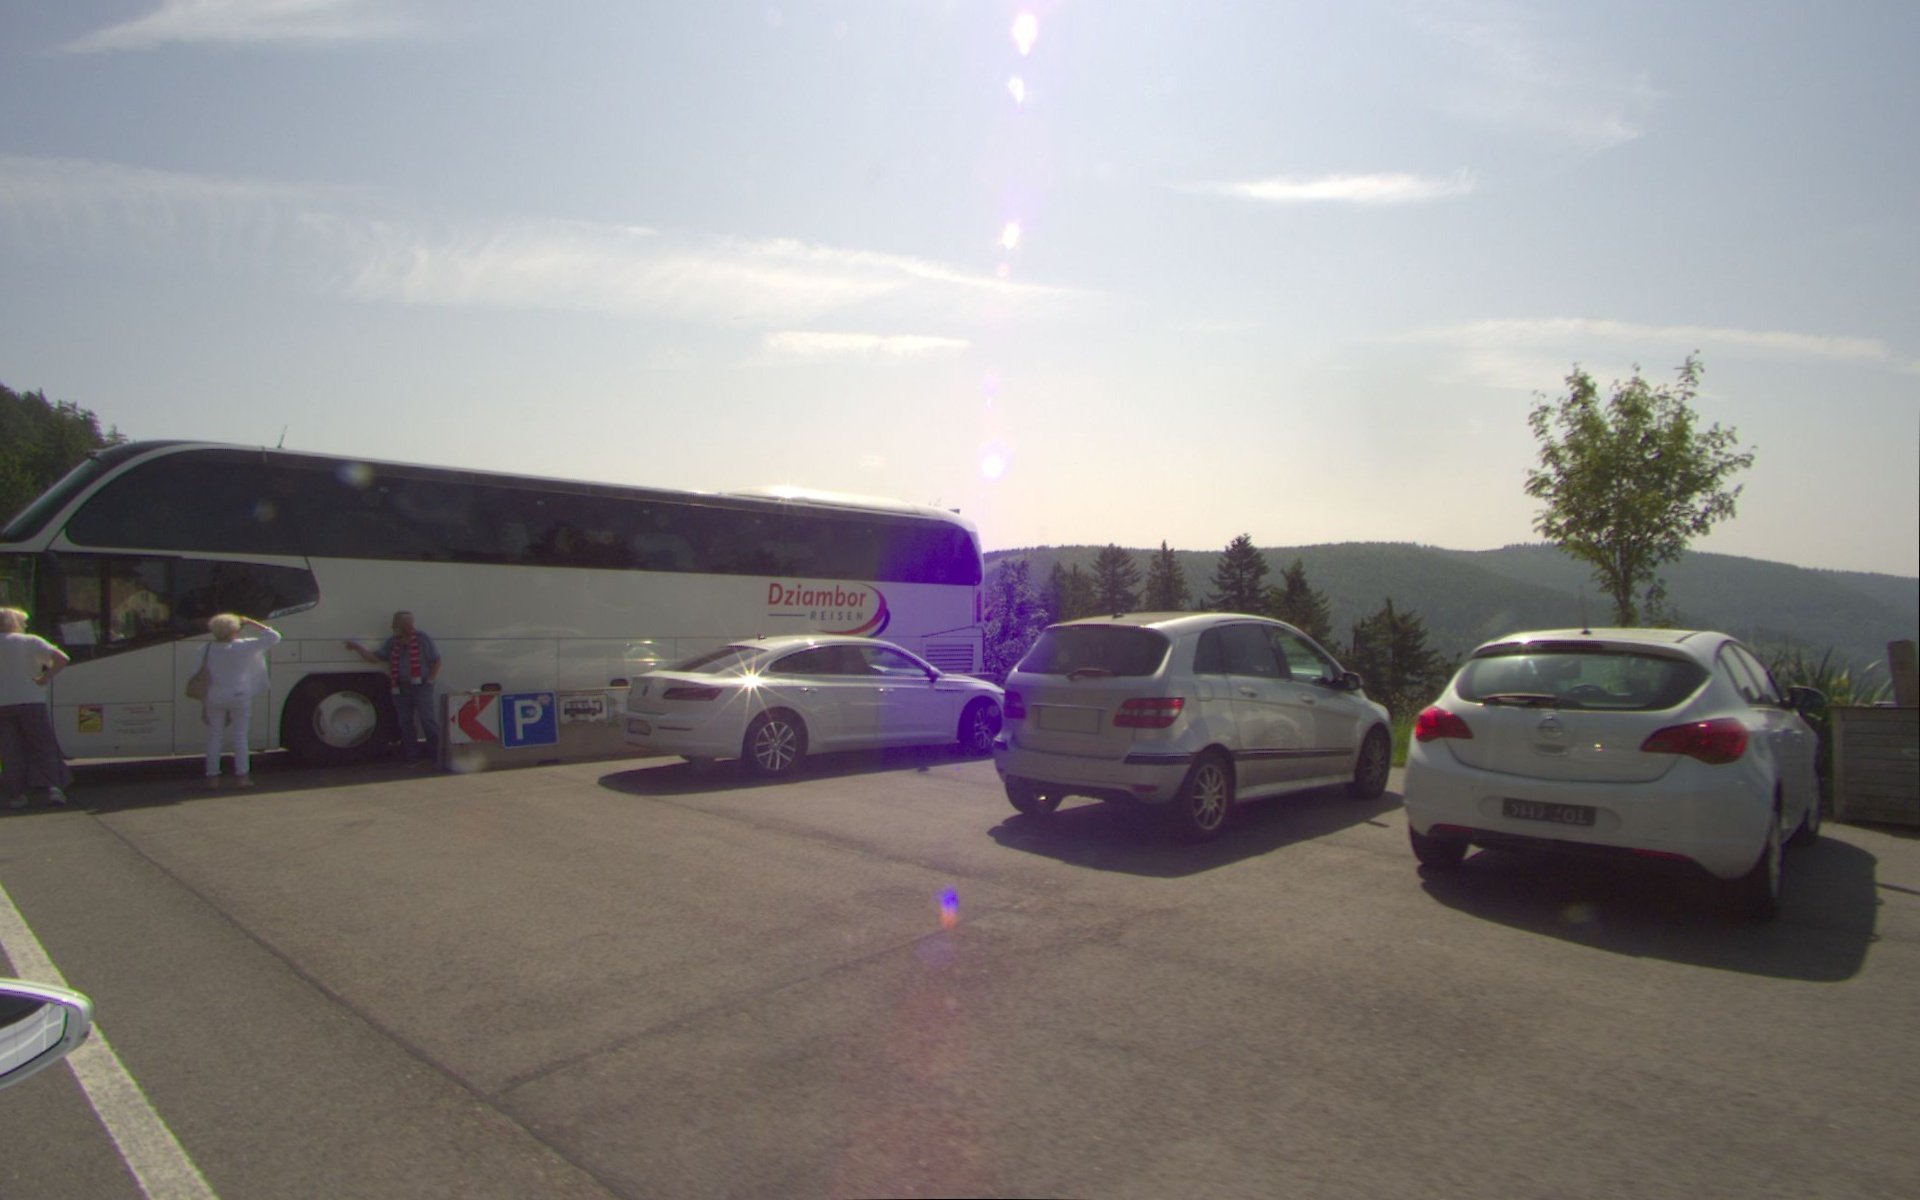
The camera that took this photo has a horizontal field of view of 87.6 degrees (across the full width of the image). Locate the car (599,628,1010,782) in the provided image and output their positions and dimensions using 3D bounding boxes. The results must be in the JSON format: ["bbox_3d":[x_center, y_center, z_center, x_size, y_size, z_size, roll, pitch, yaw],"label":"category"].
[{"bbox_3d":[-1.610,1.056,11.385,4.391,1.414,1.704,2,-2,-41],"label":"car"}]

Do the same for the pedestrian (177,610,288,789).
[{"bbox_3d":[-6.861,0.903,9.479,0.635,1.617,0.743,0,1,-18],"label":"pedestrian"}]

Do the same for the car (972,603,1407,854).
[{"bbox_3d":[2.100,0.888,8.406,1.749,1.594,3.964,-1,-2,45],"label":"car"}]

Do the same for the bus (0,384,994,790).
[{"bbox_3d":[-4.999,-0.009,14.244,12.759,3.624,2.812,1,-1,-43],"label":"bus"}]

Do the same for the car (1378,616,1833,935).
[{"bbox_3d":[4.416,0.882,6.571,1.749,1.438,3.964,-1,-3,45],"label":"car"}]

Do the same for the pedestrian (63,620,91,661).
[{"bbox_3d":[-38.932,1.774,44.157,0.745,1.783,0.771,0,0,-30],"label":"pedestrian"}]

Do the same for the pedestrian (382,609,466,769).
[{"bbox_3d":[-5.853,0.935,10.933,0.639,1.665,0.738,-1,1,-42],"label":"pedestrian"}]

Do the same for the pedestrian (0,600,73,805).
[{"bbox_3d":[-8.001,0.835,8.461,0.701,1.665,0.738,-1,1,-39],"label":"pedestrian"}]
